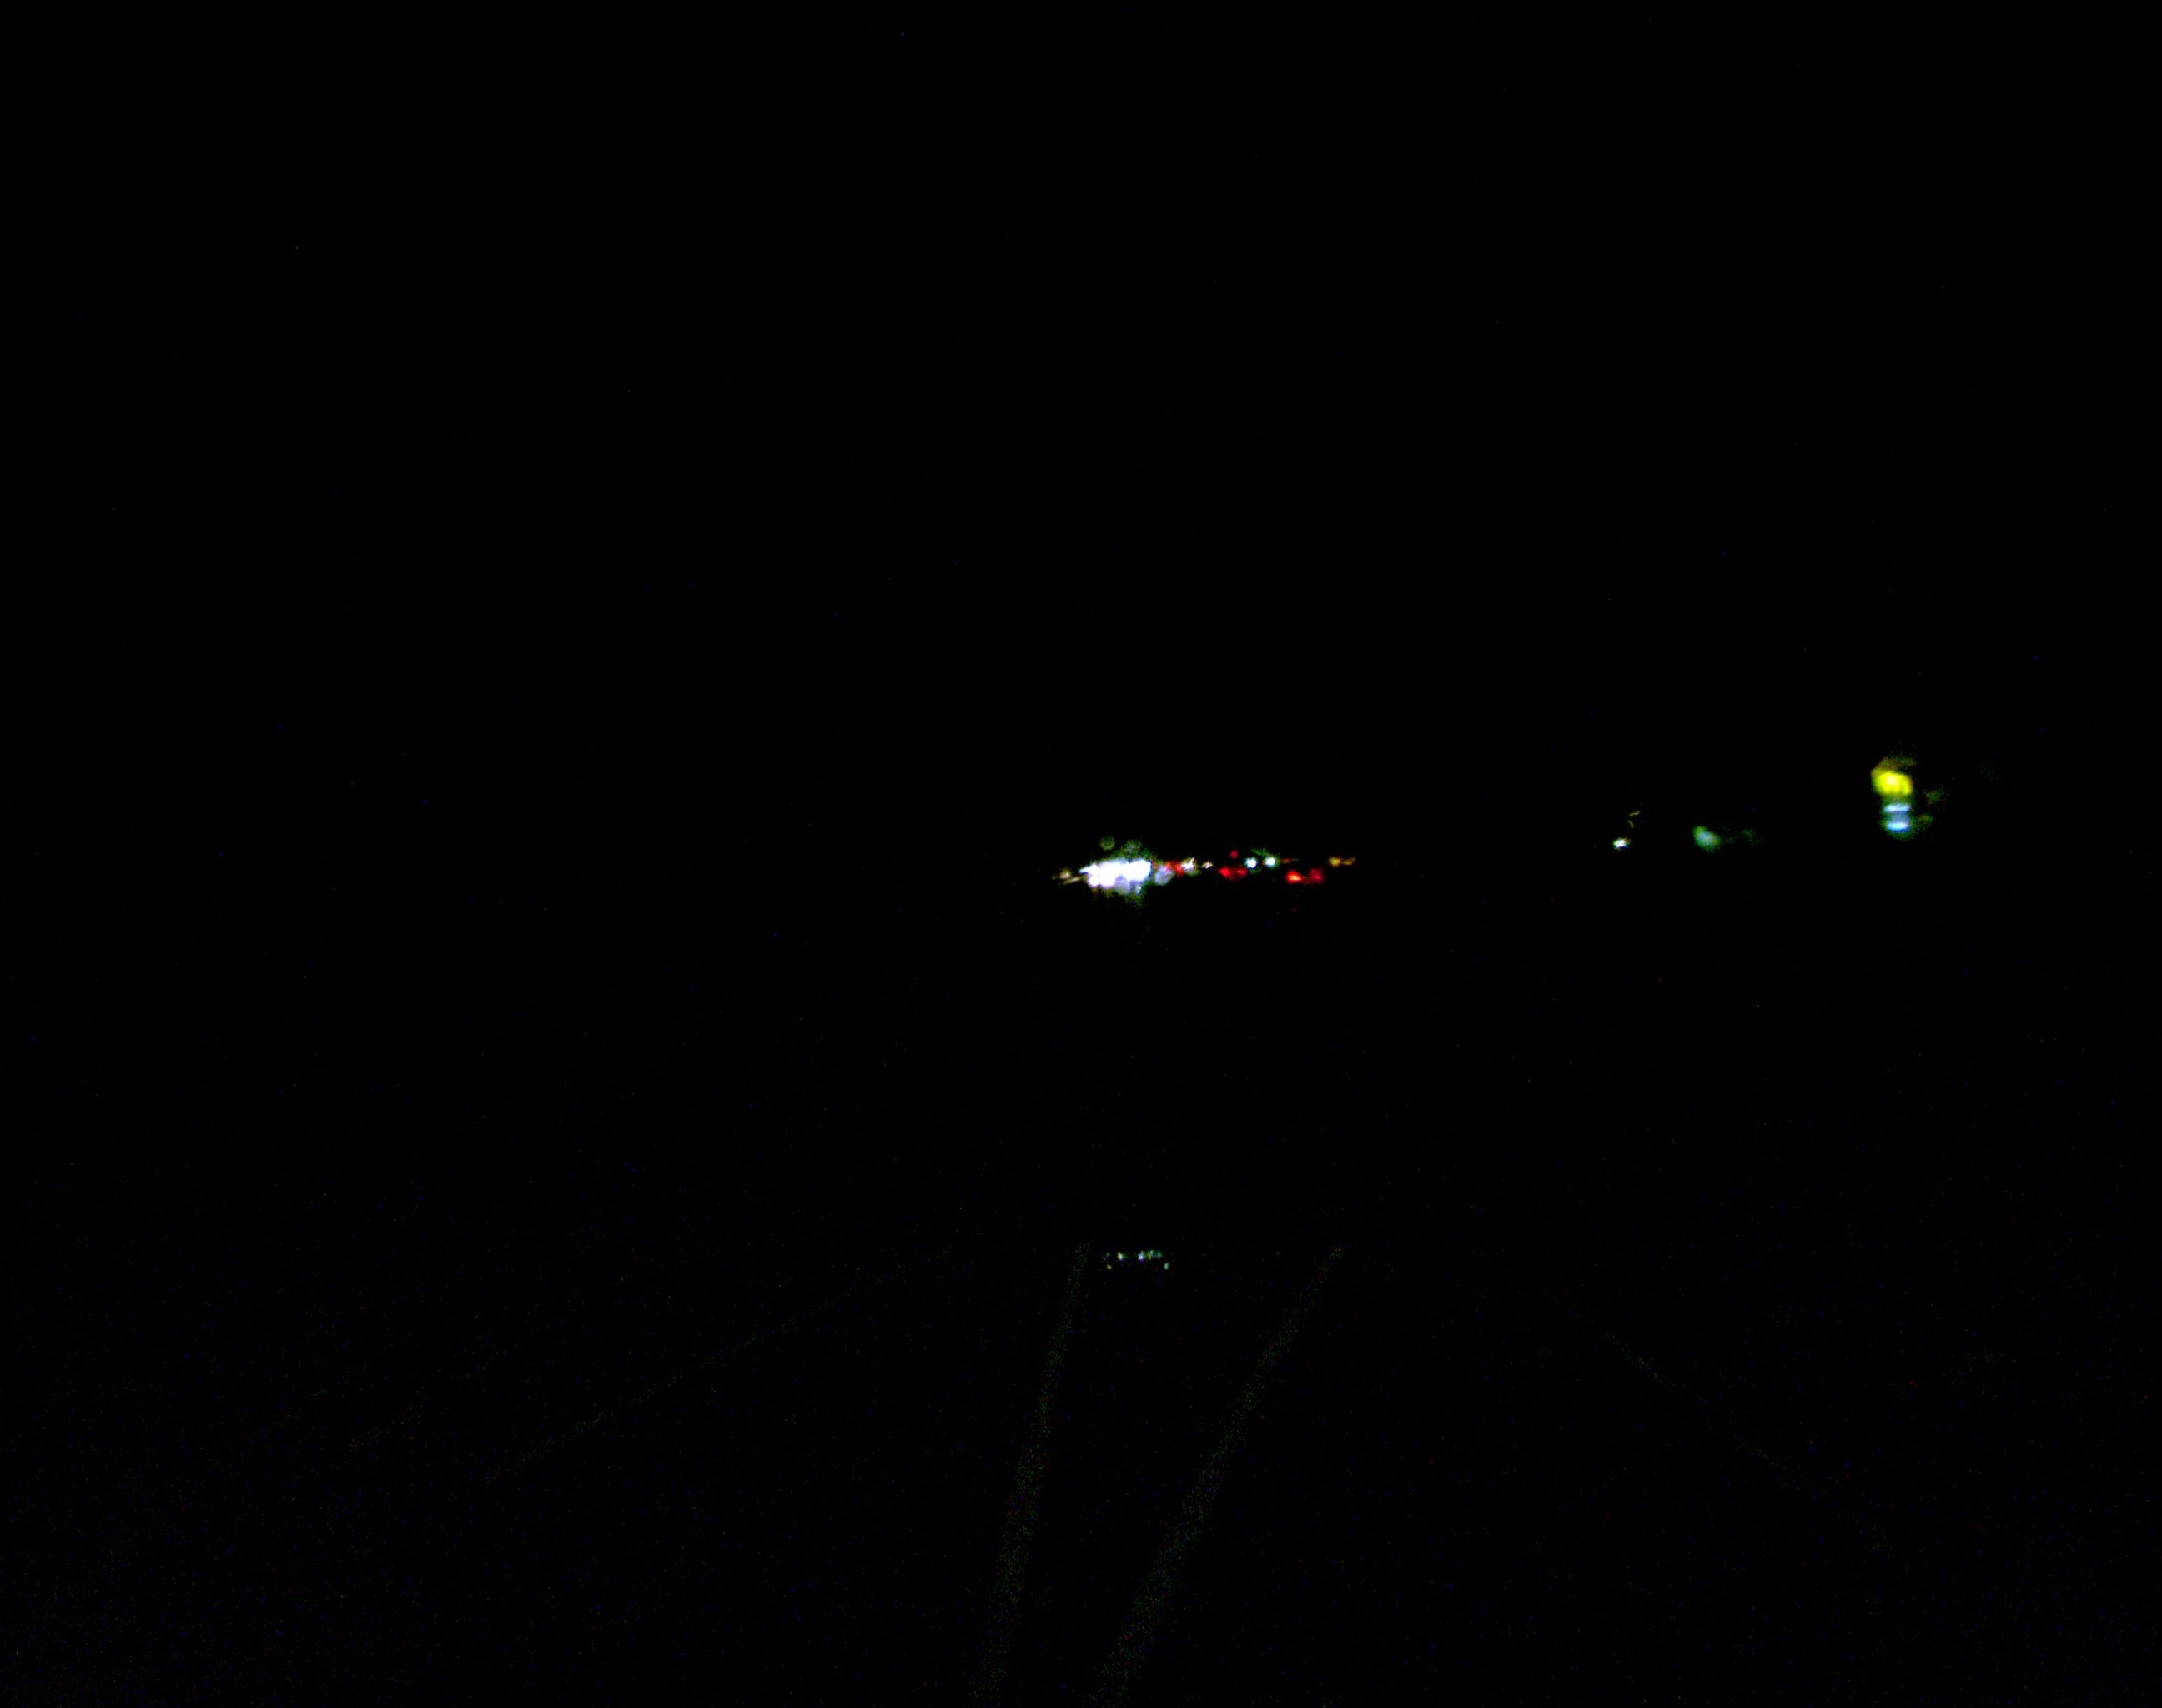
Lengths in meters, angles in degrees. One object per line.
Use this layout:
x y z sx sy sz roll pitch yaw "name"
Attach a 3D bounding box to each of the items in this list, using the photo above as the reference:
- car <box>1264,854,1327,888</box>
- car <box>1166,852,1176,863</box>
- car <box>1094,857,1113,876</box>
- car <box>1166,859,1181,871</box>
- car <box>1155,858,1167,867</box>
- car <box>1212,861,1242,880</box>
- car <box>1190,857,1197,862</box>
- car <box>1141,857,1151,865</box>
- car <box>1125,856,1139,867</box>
12.147 0.915 43.350 2.094 1.691 4.576 -2 1 -3 "car"
18.517 0.686 156.266 1.997 2.002 4.002 -2 1 7 "car"
2.384 1.260 79.754 1.877 1.824 4.206 -2 0 2 "car"
12.056 1.443 99.404 1.807 1.416 4.206 -2 1 5 "car"
13.483 1.462 127.792 1.807 1.416 4.207 -2 1 7 "car"
11.957 1.329 62.388 1.808 1.416 4.205 -2 1 2 "car"
34.810 1.635 235.193 1.807 1.416 4.207 -2 1 8 "car"
12.925 1.434 150.830 1.807 1.416 4.207 -2 1 7 "car"
8.374 1.259 124.123 1.913 1.693 4.942 -2 0 8 "car"
